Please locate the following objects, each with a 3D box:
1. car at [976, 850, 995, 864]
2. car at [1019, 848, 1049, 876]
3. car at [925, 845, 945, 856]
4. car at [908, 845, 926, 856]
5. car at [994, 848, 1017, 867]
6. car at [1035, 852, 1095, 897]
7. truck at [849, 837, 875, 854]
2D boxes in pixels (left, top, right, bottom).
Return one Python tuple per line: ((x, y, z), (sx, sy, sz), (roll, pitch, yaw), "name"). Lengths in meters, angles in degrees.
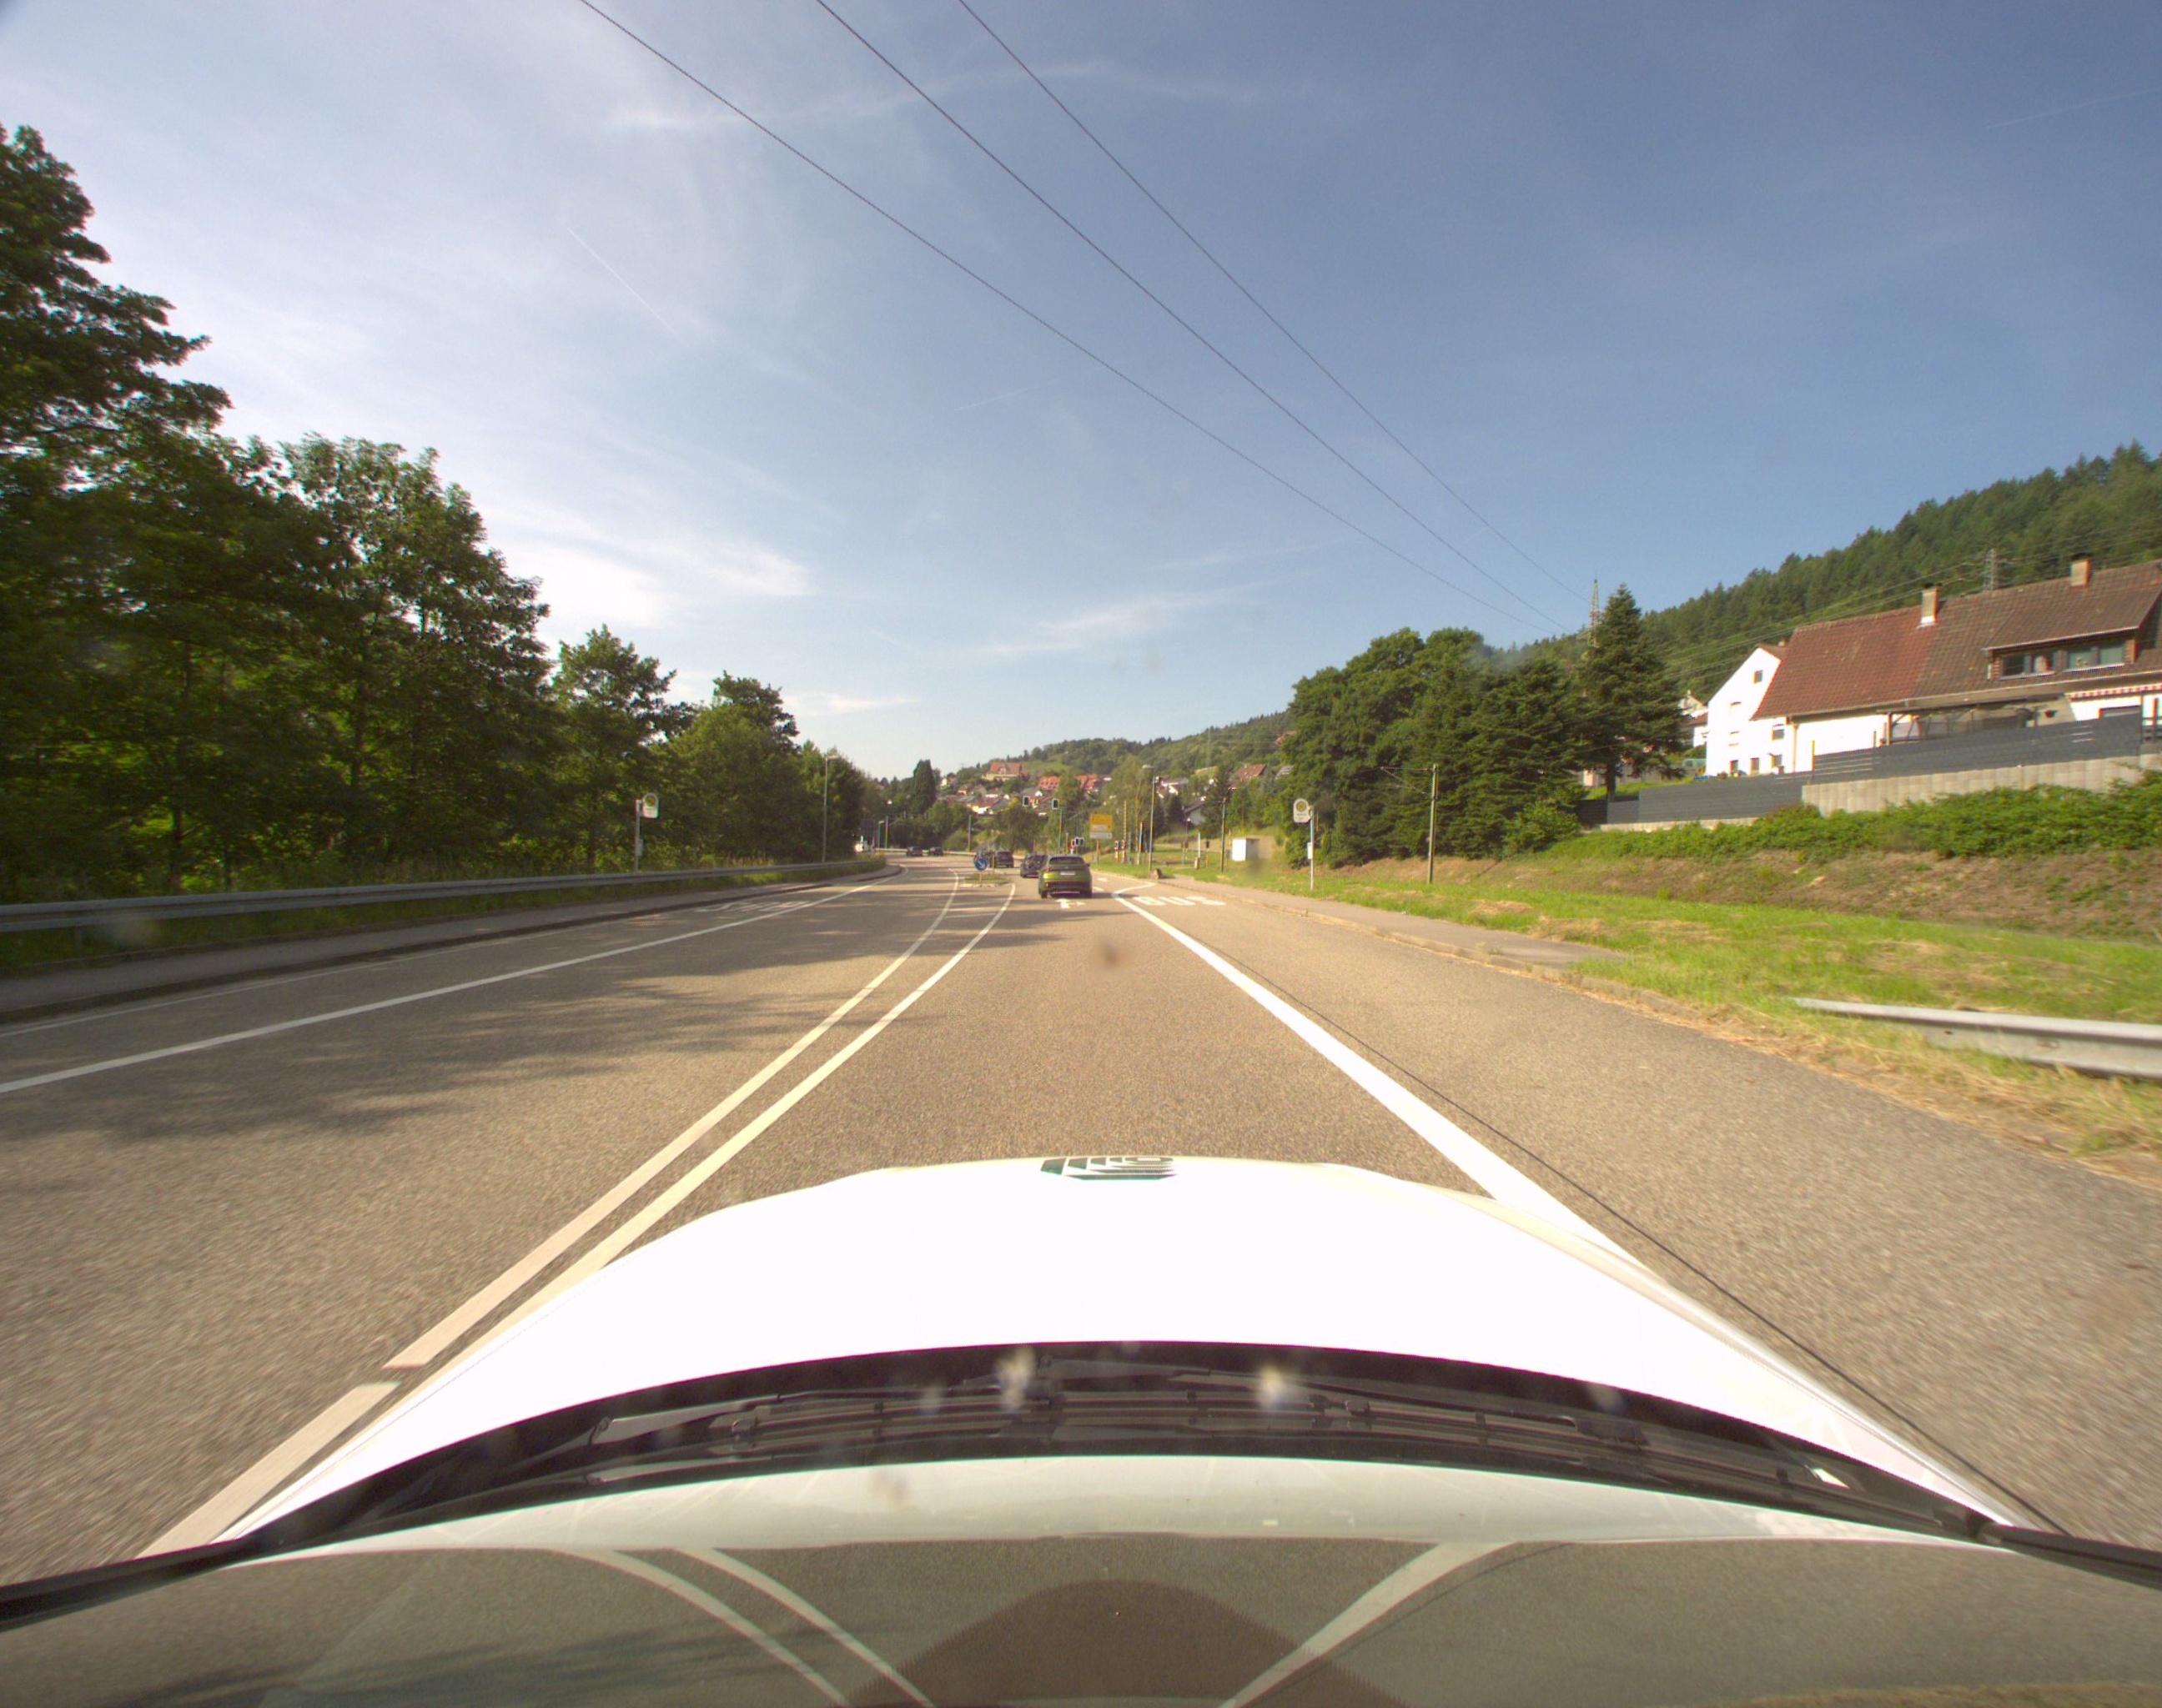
((-10.636, 0.315, 90.878), (1.850, 1.527, 3.648), (0, 0, -11), "car")
((-2.799, 0.469, 47.982), (1.664, 1.559, 3.993), (-1, 0, -5), "car")
((-24.212, -0.626, 135.299), (2.007, 1.745, 3.960), (0, 0, -32), "car")
((-27.116, -0.548, 134.377), (2.073, 1.811, 3.969), (-1, 1, -24), "car")
((-6.977, 0.268, 75.030), (1.879, 1.686, 3.988), (-1, 0, -9), "car")
((-0.628, 0.659, 28.566), (1.713, 1.455, 3.991), (-1, 0, -7), "car")
((-42.845, -1.654, 159.370), (2.732, 3.084, 6.041), (3, -1, -37), "truck")
